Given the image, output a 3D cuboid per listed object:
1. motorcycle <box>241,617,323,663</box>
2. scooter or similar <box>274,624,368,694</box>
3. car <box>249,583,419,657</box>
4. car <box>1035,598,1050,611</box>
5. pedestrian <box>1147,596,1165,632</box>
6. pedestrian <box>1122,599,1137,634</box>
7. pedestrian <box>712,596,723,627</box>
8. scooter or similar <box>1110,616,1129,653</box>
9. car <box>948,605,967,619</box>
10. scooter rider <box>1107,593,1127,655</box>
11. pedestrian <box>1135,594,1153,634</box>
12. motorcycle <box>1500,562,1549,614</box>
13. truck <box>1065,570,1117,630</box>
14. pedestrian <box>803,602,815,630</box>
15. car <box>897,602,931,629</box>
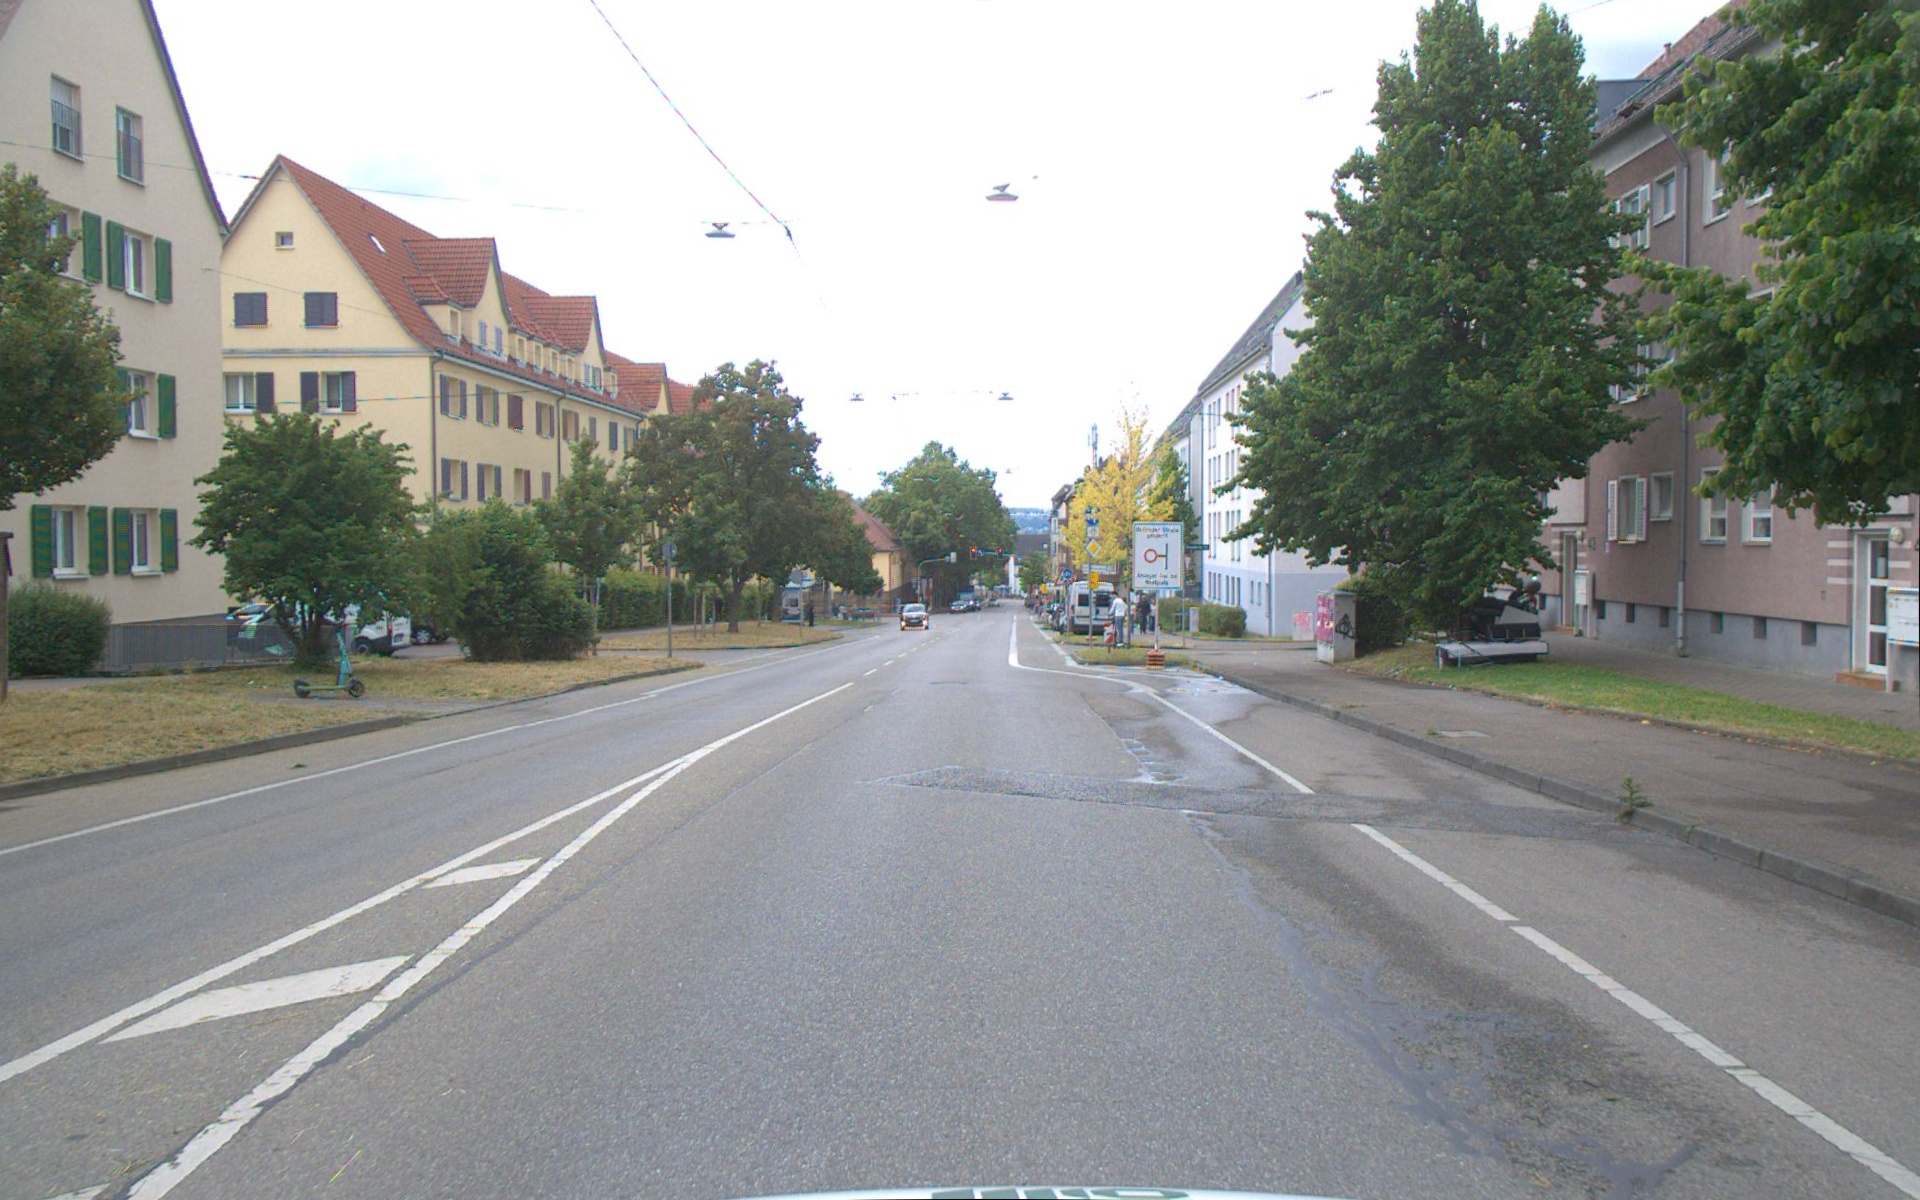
[{"bbox_3d":[-20.070,1.166,48.947,2.553,1.301,1.013,0,0,35],"label":"motorcycle"},{"bbox_3d":[-10.512,0.968,27.243,1.342,1.105,0.466,-1,0,-3],"label":"scooter or similar"},{"bbox_3d":[-19.846,0.628,52.593,4.619,2.293,1.995,0,0,2],"label":"car"},{"bbox_3d":[12.119,0.655,242.955,1.953,1.969,4.918,0,0,-1],"label":"car"},{"bbox_3d":[9.340,0.669,78.853,0.644,1.633,0.574,-4,0,-7],"label":"pedestrian"},{"bbox_3d":[8.157,0.817,79.537,0.566,1.673,0.560,0,-1,-12],"label":"pedestrian"},{"bbox_3d":[-14.010,0.664,95.531,0.503,1.811,0.753,0,0,1],"label":"pedestrian"},{"bbox_3d":[5.329,1.150,55.431,0.480,1.183,2.075,0,0,1],"label":"scooter or similar"},{"bbox_3d":[-0.233,1.349,184.675,1.719,1.498,4.309,-1,0,5],"label":"car"},{"bbox_3d":[5.293,0.798,55.651,0.612,2.049,0.758,0,0,1],"label":"scooter rider"},{"bbox_3d":[8.719,0.665,78.446,0.658,1.920,0.764,-1,-1,-10],"label":"pedestrian"},{"bbox_3d":[13.830,-0.292,40.546,0.578,1.249,1.967,0,0,1],"label":"motorcycle"},{"bbox_3d":[5.925,-0.016,75.544,2.010,2.610,5.690,0,0,1],"label":"truck"},{"bbox_3d":[-9.736,1.027,106.836,0.585,1.757,0.861,1,0,4],"label":"pedestrian"},{"bbox_3d":[-2.876,0.949,104.783,1.860,1.648,4.363,0,0,2],"label":"car"}]
